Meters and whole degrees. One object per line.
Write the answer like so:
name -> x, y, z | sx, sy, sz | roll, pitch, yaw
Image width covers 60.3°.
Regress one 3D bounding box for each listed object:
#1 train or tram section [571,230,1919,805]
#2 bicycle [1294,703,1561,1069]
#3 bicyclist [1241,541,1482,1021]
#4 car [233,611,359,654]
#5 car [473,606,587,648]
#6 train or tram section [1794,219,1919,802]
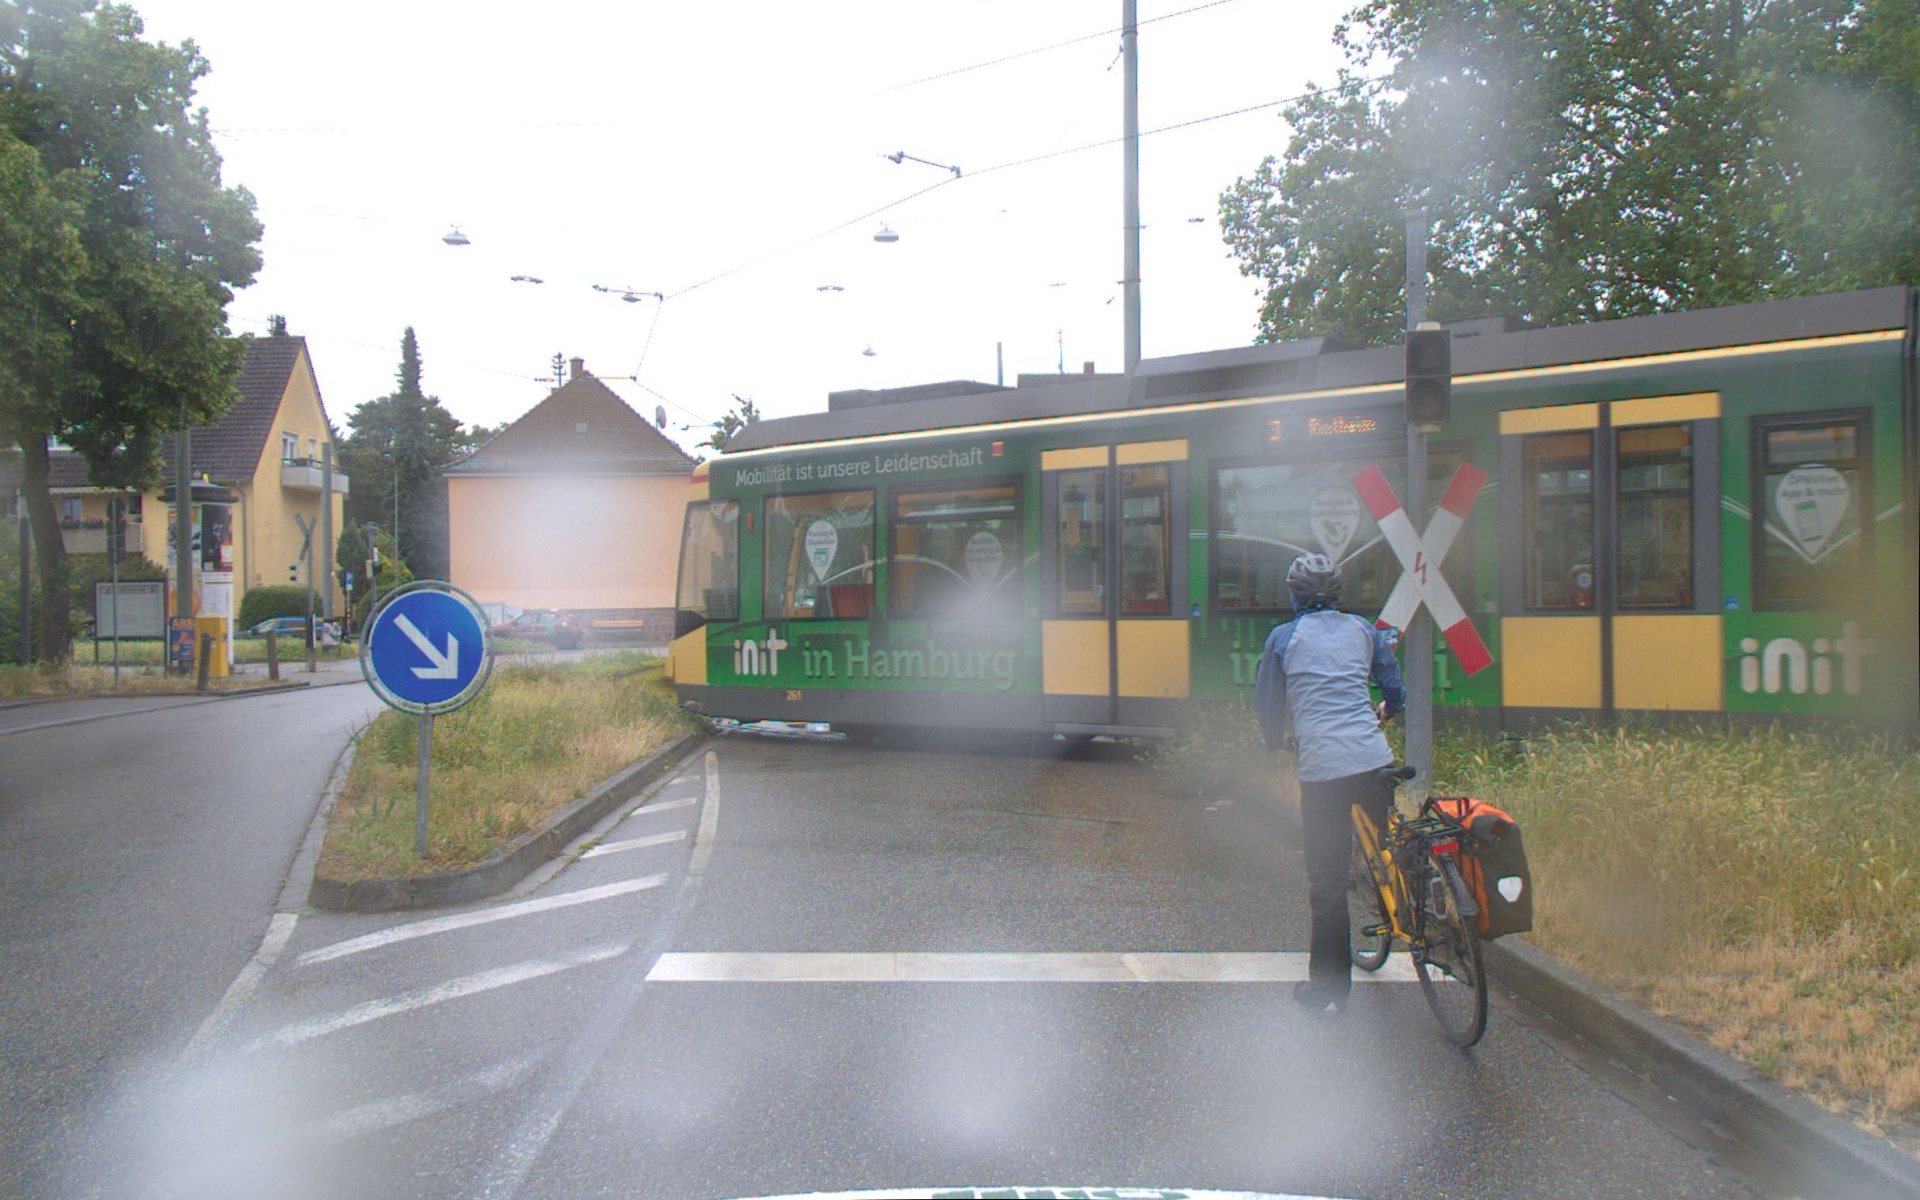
train or tram section -> 1.559, -0.434, 15.504 | 12.880, 3.615, 2.757 | -1, 0, 39
bicycle -> 1.651, 0.955, 6.084 | 0.437, 1.022, 1.727 | -1, 1, -2
bicyclist -> 1.468, 0.632, 6.169 | 0.653, 1.654, 0.852 | 1, -1, -2
car -> -24.432, 1.190, 60.970 | 3.911, 1.482, 1.831 | 1, 0, -7
car -> -16.177, 1.007, 62.339 | 3.911, 1.482, 1.831 | 1, 0, -7
train or tram section -> 8.165, -0.606, 10.682 | 4.875, 3.615, 2.766 | -1, 0, 27
